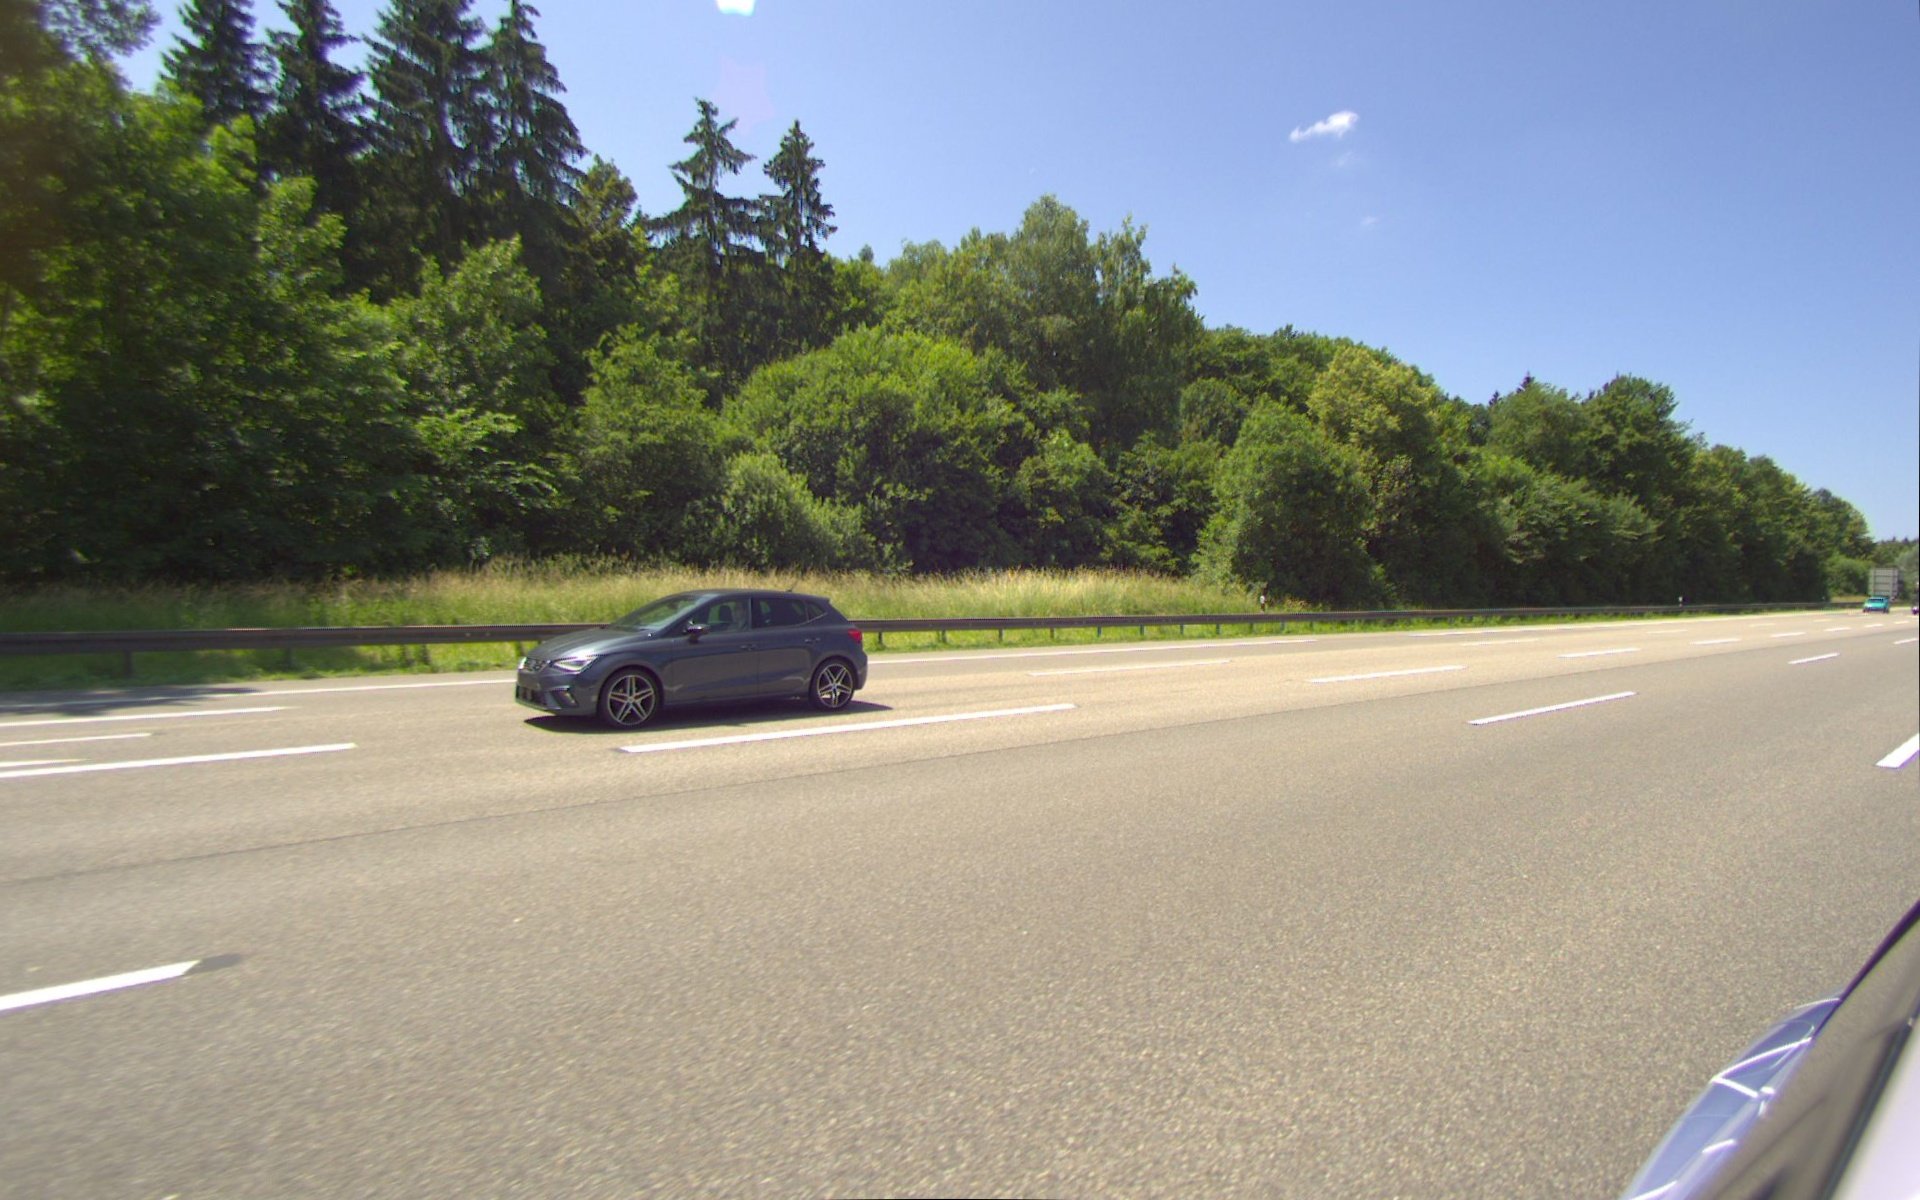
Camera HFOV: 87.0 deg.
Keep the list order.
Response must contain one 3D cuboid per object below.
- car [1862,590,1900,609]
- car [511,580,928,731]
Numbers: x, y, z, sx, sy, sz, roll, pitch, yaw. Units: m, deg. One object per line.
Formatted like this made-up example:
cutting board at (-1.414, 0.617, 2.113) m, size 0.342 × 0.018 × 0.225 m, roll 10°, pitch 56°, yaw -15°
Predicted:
car at (84.987, -0.057, 93.358) m, size 4.053 × 1.701 × 1.999 m, roll 0°, pitch 3°, yaw -39°
car at (-2.651, 0.531, 11.905) m, size 4.554 × 1.457 × 1.646 m, roll 0°, pitch 0°, yaw -41°
